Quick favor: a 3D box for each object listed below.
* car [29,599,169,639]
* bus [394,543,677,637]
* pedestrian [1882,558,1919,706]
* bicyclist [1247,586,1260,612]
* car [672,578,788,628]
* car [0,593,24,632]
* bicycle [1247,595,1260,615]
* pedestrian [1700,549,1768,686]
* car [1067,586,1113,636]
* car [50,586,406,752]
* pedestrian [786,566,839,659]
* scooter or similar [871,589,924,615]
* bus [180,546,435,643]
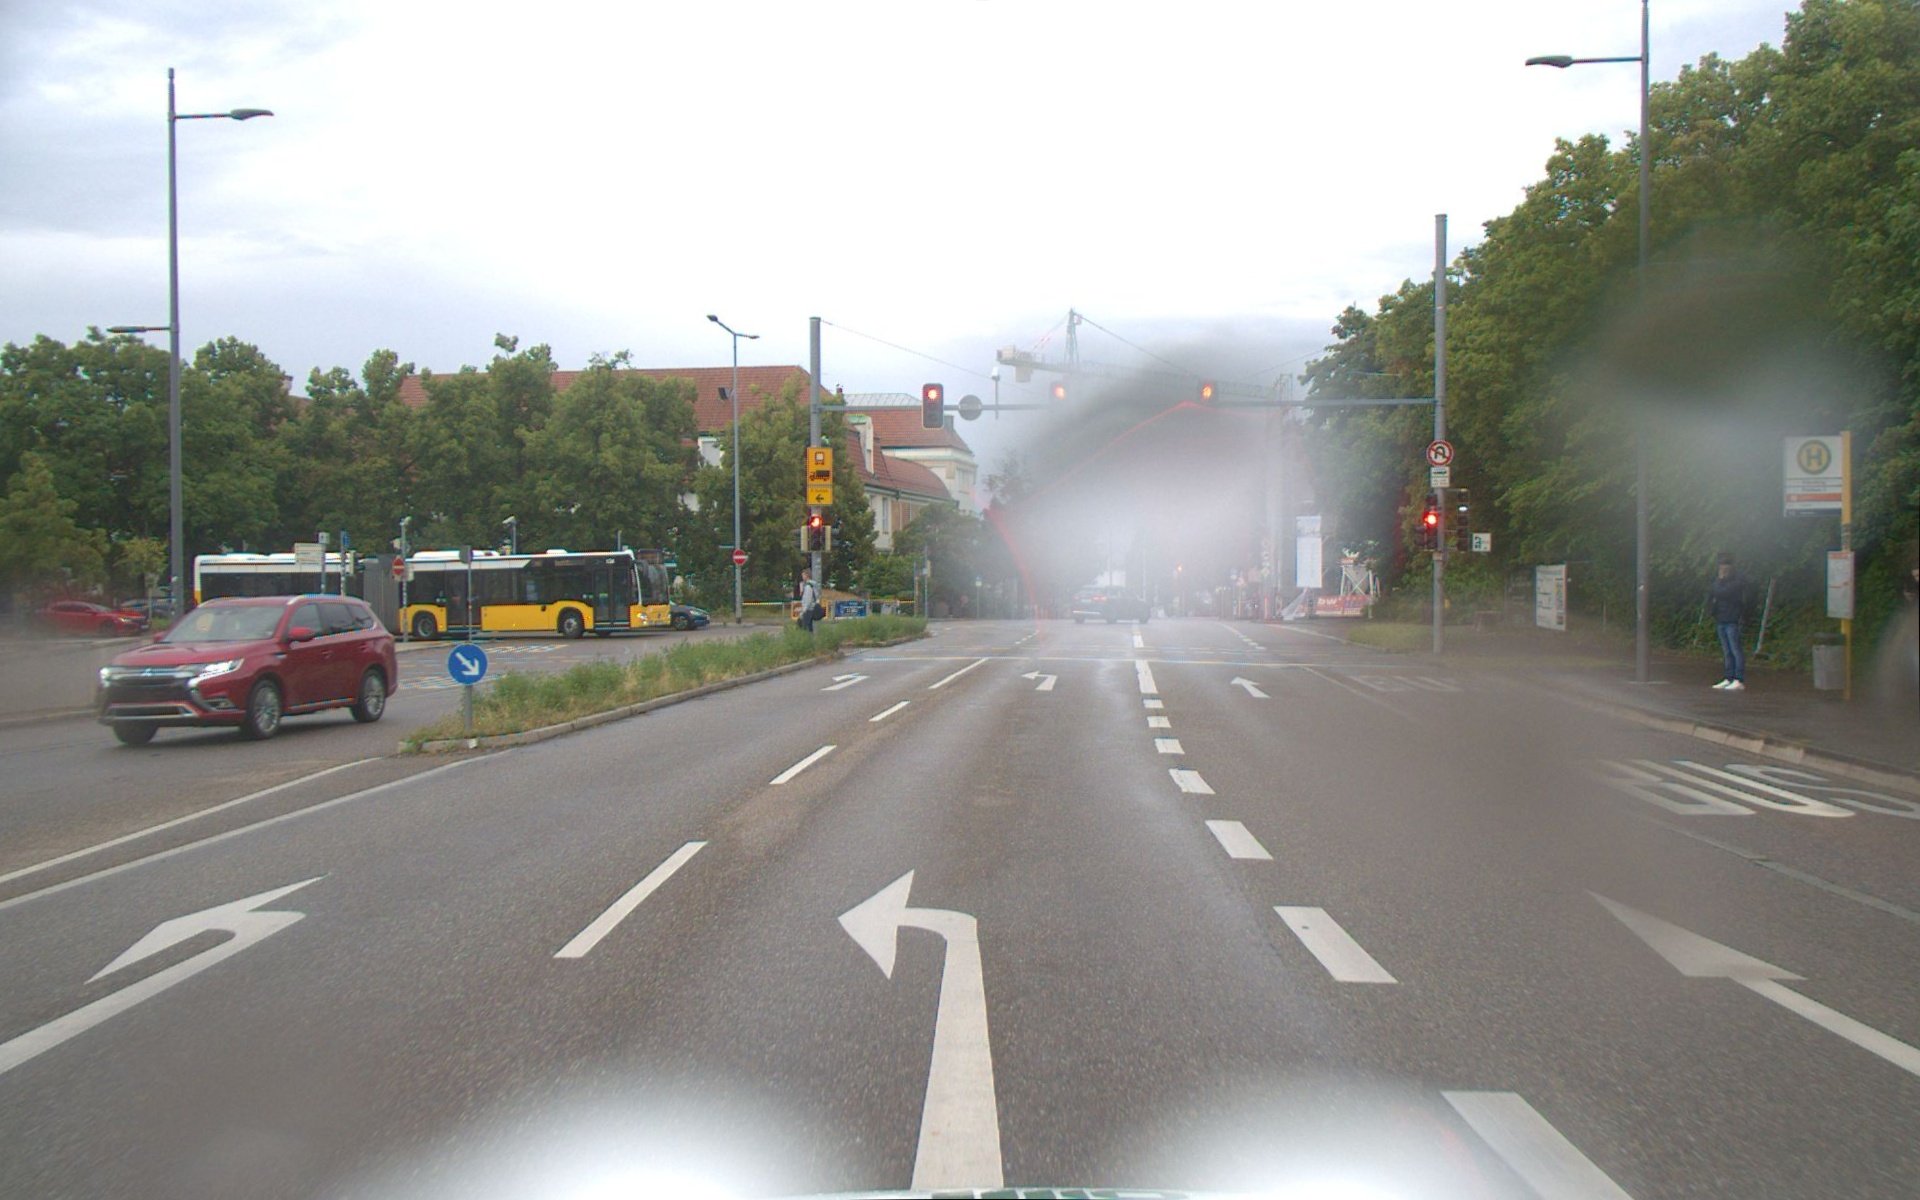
[{"bbox_3d":[-34.036,0.761,65.464,4.476,1.450,2.001,1,-1,5],"label":"car"},{"bbox_3d":[-15.028,-0.340,58.571,9.518,3.157,2.900,0,0,16],"label":"bus"},{"bbox_3d":[11.249,0.356,19.176,0.662,1.687,0.793,-1,0,0],"label":"pedestrian"},{"bbox_3d":[18.773,-0.055,105.691,0.705,1.591,1.143,1,-1,7],"label":"bicyclist"},{"bbox_3d":[-8.625,0.132,62.196,3.903,1.736,2.001,1,-1,5],"label":"car"},{"bbox_3d":[-37.819,0.459,62.014,4.352,1.450,2.001,0,0,4],"label":"car"},{"bbox_3d":[18.767,0.345,105.685,0.705,1.214,1.757,1,-1,7],"label":"bicycle"},{"bbox_3d":[11.131,0.249,23.812,0.627,1.934,0.718,-1,0,0],"label":"pedestrian"},{"bbox_3d":[5.695,0.516,72.063,1.903,2.056,4.553,1,-1,5],"label":"car"},{"bbox_3d":[-8.694,0.727,20.192,1.814,1.712,4.741,-3,0,5],"label":"car"},{"bbox_3d":[-3.368,0.285,37.812,0.920,2.048,0.848,-3,0,11],"label":"pedestrian"},{"bbox_3d":[-3.701,0.120,98.152,3.023,1.465,0.949,-1,0,4],"label":"scooter or similar"},{"bbox_3d":[-23.834,-0.200,60.565,8.365,3.365,2.900,-1,0,9],"label":"bus"}]
